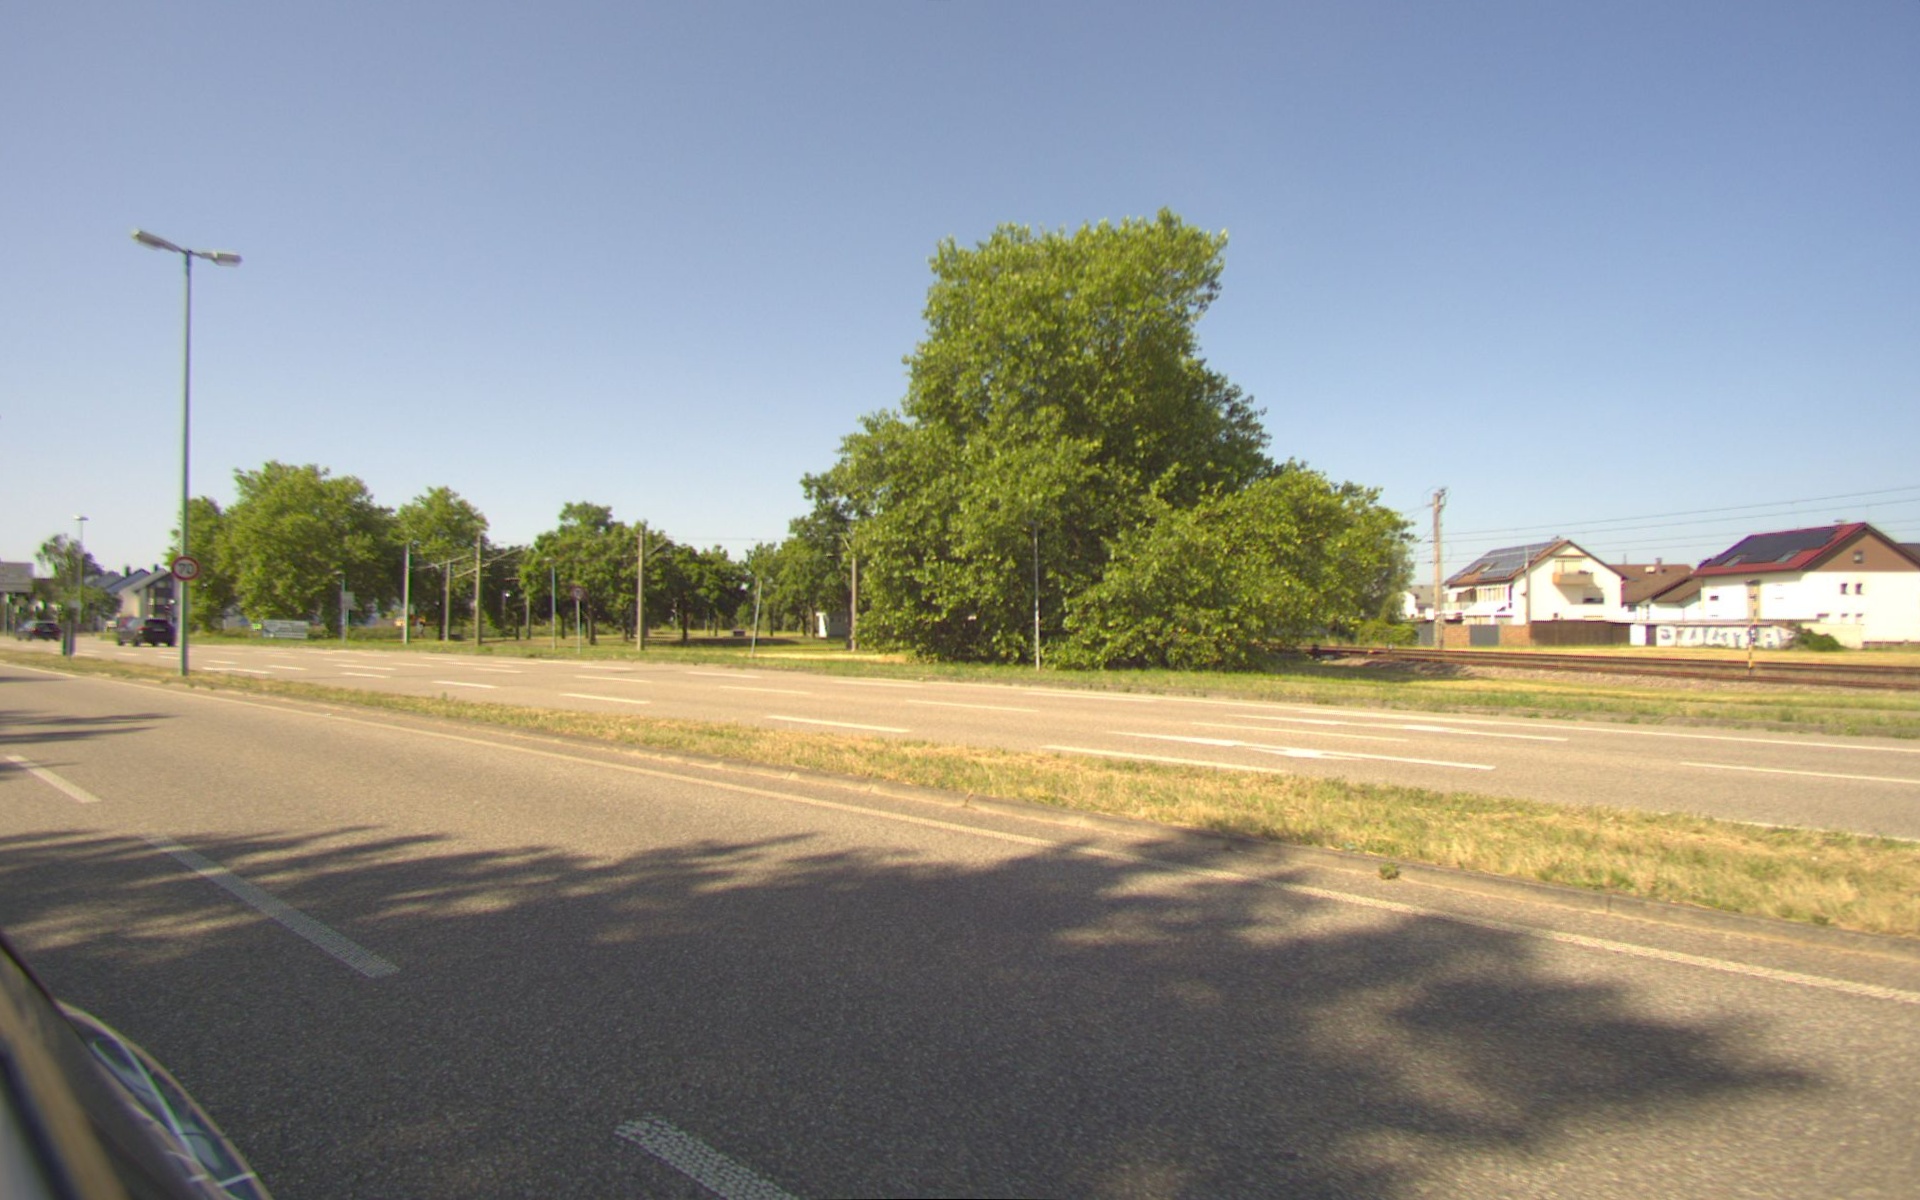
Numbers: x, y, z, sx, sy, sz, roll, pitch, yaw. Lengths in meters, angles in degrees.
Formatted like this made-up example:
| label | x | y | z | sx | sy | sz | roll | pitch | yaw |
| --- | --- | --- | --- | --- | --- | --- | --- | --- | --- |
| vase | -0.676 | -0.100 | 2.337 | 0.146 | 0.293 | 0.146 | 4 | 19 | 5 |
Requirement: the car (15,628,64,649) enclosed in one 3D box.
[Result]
| label | x | y | z | sx | sy | sz | roll | pitch | yaw |
| --- | --- | --- | --- | --- | --- | --- | --- | --- | --- |
| car | -66.199 | 2.723 | 72.749 | 4.462 | 1.476 | 1.814 | -1 | -2 | 38 |

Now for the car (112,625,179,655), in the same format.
| label | x | y | z | sx | sy | sz | roll | pitch | yaw |
| --- | --- | --- | --- | --- | --- | --- | --- | --- | --- |
| car | -46.757 | 2.255 | 58.073 | 4.547 | 1.672 | 1.964 | -1 | -2 | 37 |
